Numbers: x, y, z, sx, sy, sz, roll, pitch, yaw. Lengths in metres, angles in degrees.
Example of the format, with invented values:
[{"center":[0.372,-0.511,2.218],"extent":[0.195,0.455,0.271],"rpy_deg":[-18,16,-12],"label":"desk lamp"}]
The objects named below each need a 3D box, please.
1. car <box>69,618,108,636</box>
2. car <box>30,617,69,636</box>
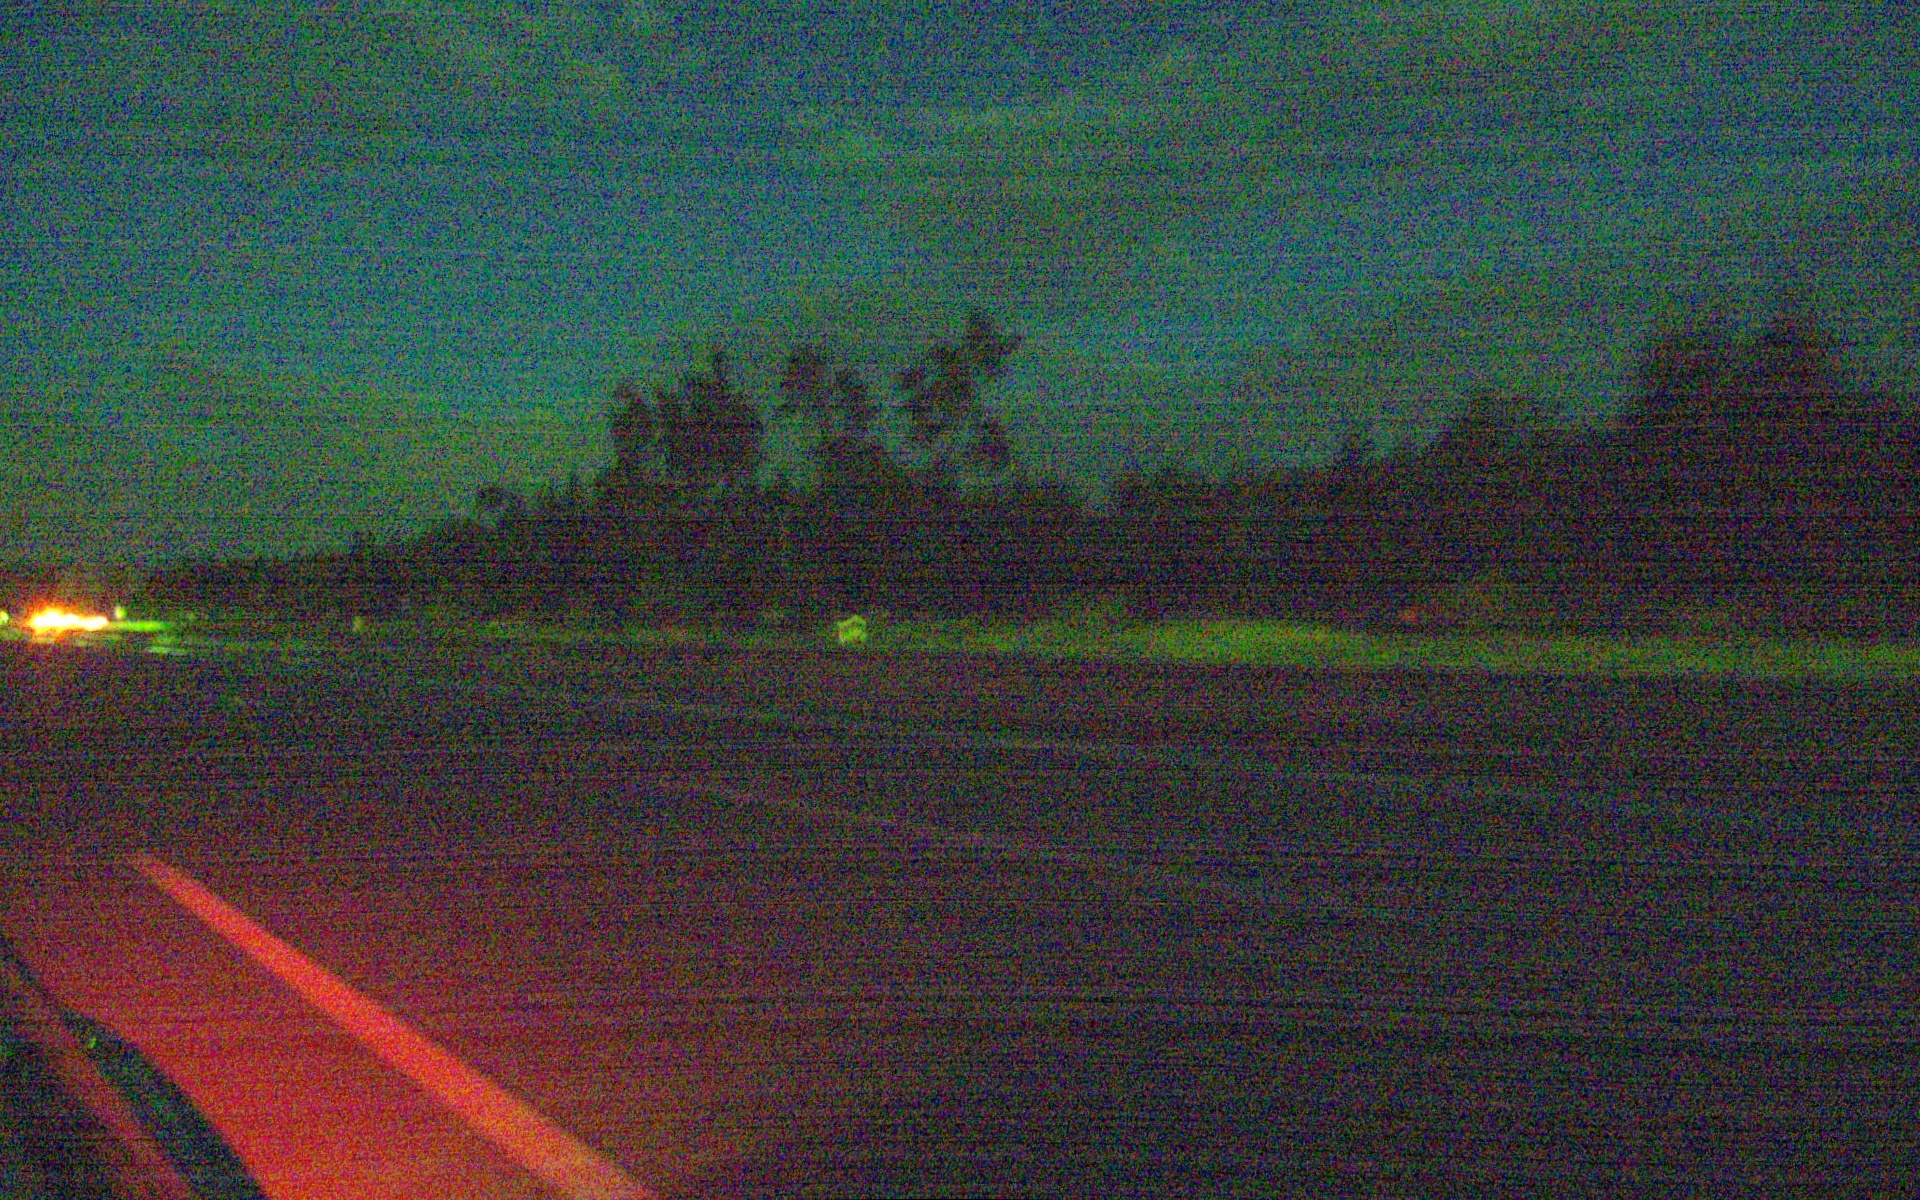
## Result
[{"center":[-80.858,2.509,93.867],"extent":[3.997,1.579,2.127],"rpy_deg":[-1,0,40],"label":"car"},{"center":[-80.127,2.318,89.062],"extent":[3.996,1.608,1.974],"rpy_deg":[-1,0,39],"label":"car"}]
